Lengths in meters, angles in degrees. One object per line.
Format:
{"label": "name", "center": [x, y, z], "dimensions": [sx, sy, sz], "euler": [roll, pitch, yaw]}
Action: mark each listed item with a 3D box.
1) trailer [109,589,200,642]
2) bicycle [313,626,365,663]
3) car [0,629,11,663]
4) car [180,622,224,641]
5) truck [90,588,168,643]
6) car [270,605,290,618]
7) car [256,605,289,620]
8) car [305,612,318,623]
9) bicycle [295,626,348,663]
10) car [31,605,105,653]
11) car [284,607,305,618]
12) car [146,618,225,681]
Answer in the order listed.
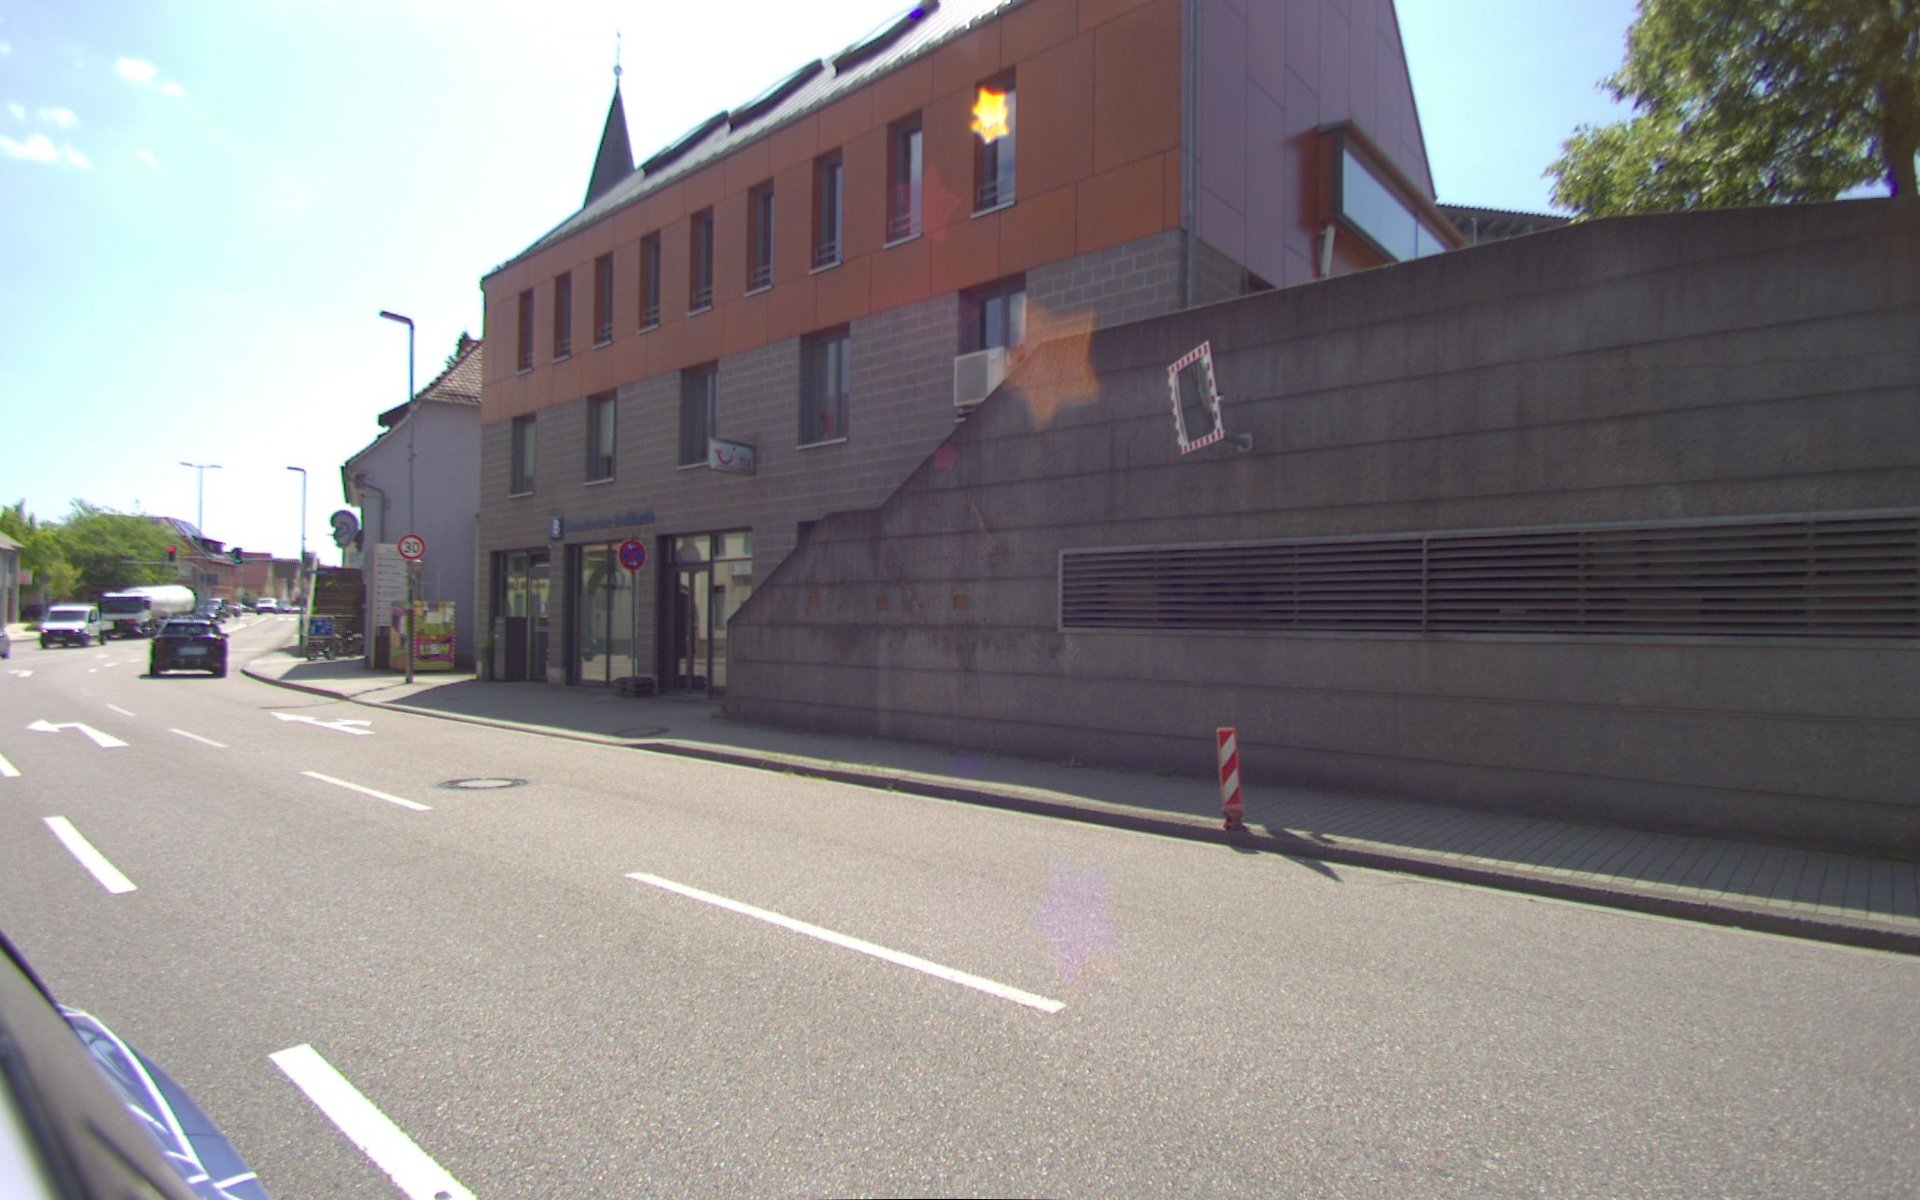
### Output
{"label": "trailer", "center": [-59.566, 1.213, 75.176], "dimensions": [2.790, 3.597, 11.001], "euler": [1, -2, -25]}
{"label": "bicycle", "center": [-22.785, 1.609, 37.160], "dimensions": [0.571, 1.258, 1.828], "euler": [-3, 0, 6]}
{"label": "car", "center": [-39.988, 1.890, 40.737], "dimensions": [1.898, 1.376, 4.315], "euler": [-1, 0, -34]}
{"label": "car", "center": [-65.635, 2.699, 87.667], "dimensions": [1.978, 1.643, 4.592], "euler": [1, -2, -23]}
{"label": "truck", "center": [-56.700, 1.118, 69.163], "dimensions": [2.800, 3.597, 5.486], "euler": [1, -2, -25]}
{"label": "car", "center": [-91.666, 1.587, 136.384], "dimensions": [1.979, 1.643, 4.591], "euler": [1, -2, -31]}
{"label": "car", "center": [-79.469, 1.431, 117.007], "dimensions": [1.978, 1.643, 4.592], "euler": [1, -2, -19]}
{"label": "car", "center": [-114.638, 3.058, 178.952], "dimensions": [1.737, 1.799, 4.012], "euler": [0, -1, -29]}
{"label": "bicycle", "center": [-23.430, 1.616, 37.167], "dimensions": [0.571, 1.258, 1.828], "euler": [-3, 0, 6]}
{"label": "car", "center": [-50.380, 1.609, 57.281], "dimensions": [2.139, 2.583, 4.839], "euler": [1, -2, -29]}
{"label": "car", "center": [-100.375, 1.950, 152.691], "dimensions": [1.978, 1.643, 4.592], "euler": [1, -2, -26]}
{"label": "car", "center": [-21.972, 1.351, 28.673], "dimensions": [1.648, 1.670, 4.025], "euler": [1, -2, -39]}
